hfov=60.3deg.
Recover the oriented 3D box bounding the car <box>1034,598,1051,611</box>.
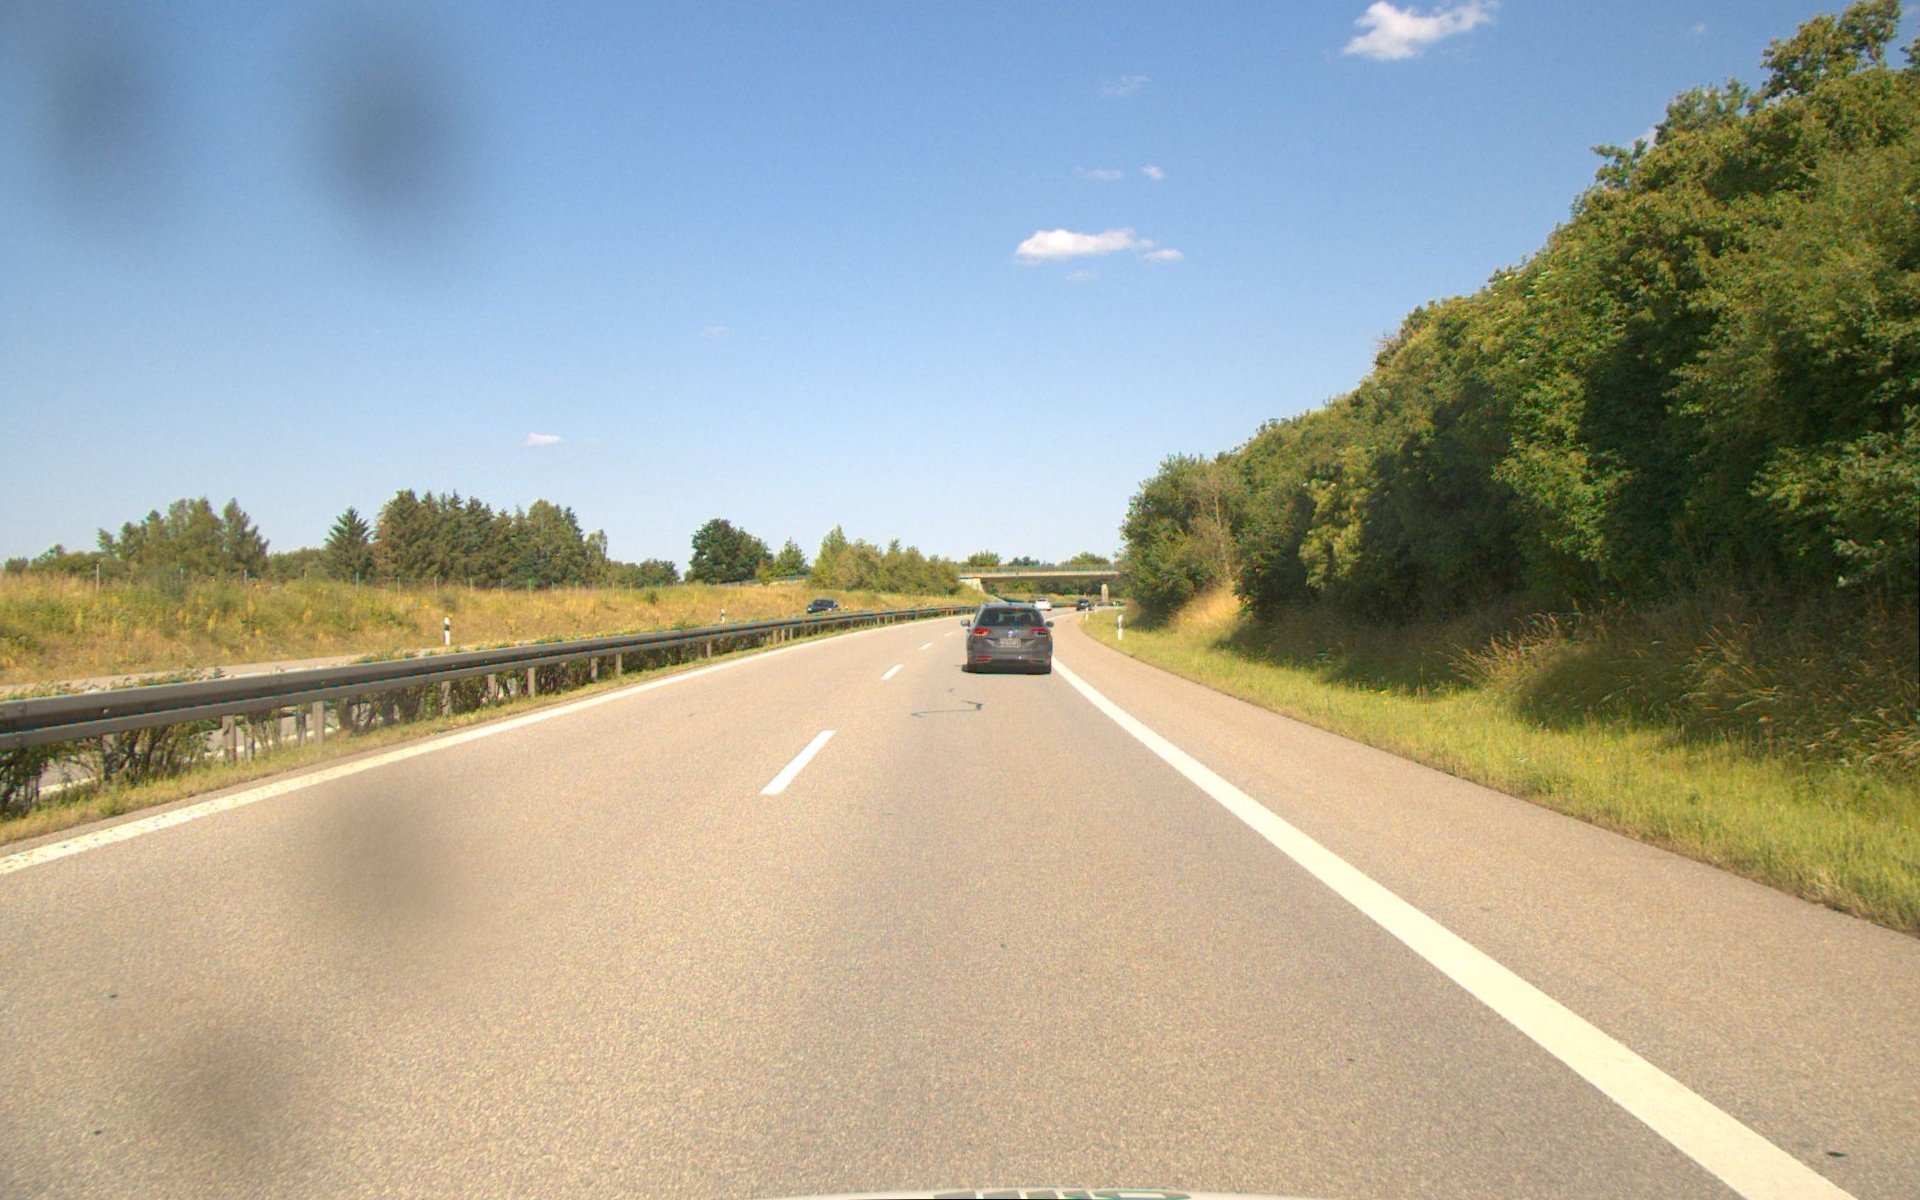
[{"bbox_3d":[9.719,0.547,195.725,1.965,1.368,4.000,2,-1,2],"label":"car"}]

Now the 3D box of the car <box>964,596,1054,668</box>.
[{"bbox_3d":[1.069,0.658,34.882,1.753,1.368,4.001,2,-1,3],"label":"car"}]

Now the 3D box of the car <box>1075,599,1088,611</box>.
[{"bbox_3d":[15.261,0.657,207.776,1.675,1.411,3.356,1,-1,4],"label":"car"}]

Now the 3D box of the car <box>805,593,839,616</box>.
[{"bbox_3d":[-9.971,0.329,119.698,1.793,1.579,4.468,0,1,4],"label":"car"}]
